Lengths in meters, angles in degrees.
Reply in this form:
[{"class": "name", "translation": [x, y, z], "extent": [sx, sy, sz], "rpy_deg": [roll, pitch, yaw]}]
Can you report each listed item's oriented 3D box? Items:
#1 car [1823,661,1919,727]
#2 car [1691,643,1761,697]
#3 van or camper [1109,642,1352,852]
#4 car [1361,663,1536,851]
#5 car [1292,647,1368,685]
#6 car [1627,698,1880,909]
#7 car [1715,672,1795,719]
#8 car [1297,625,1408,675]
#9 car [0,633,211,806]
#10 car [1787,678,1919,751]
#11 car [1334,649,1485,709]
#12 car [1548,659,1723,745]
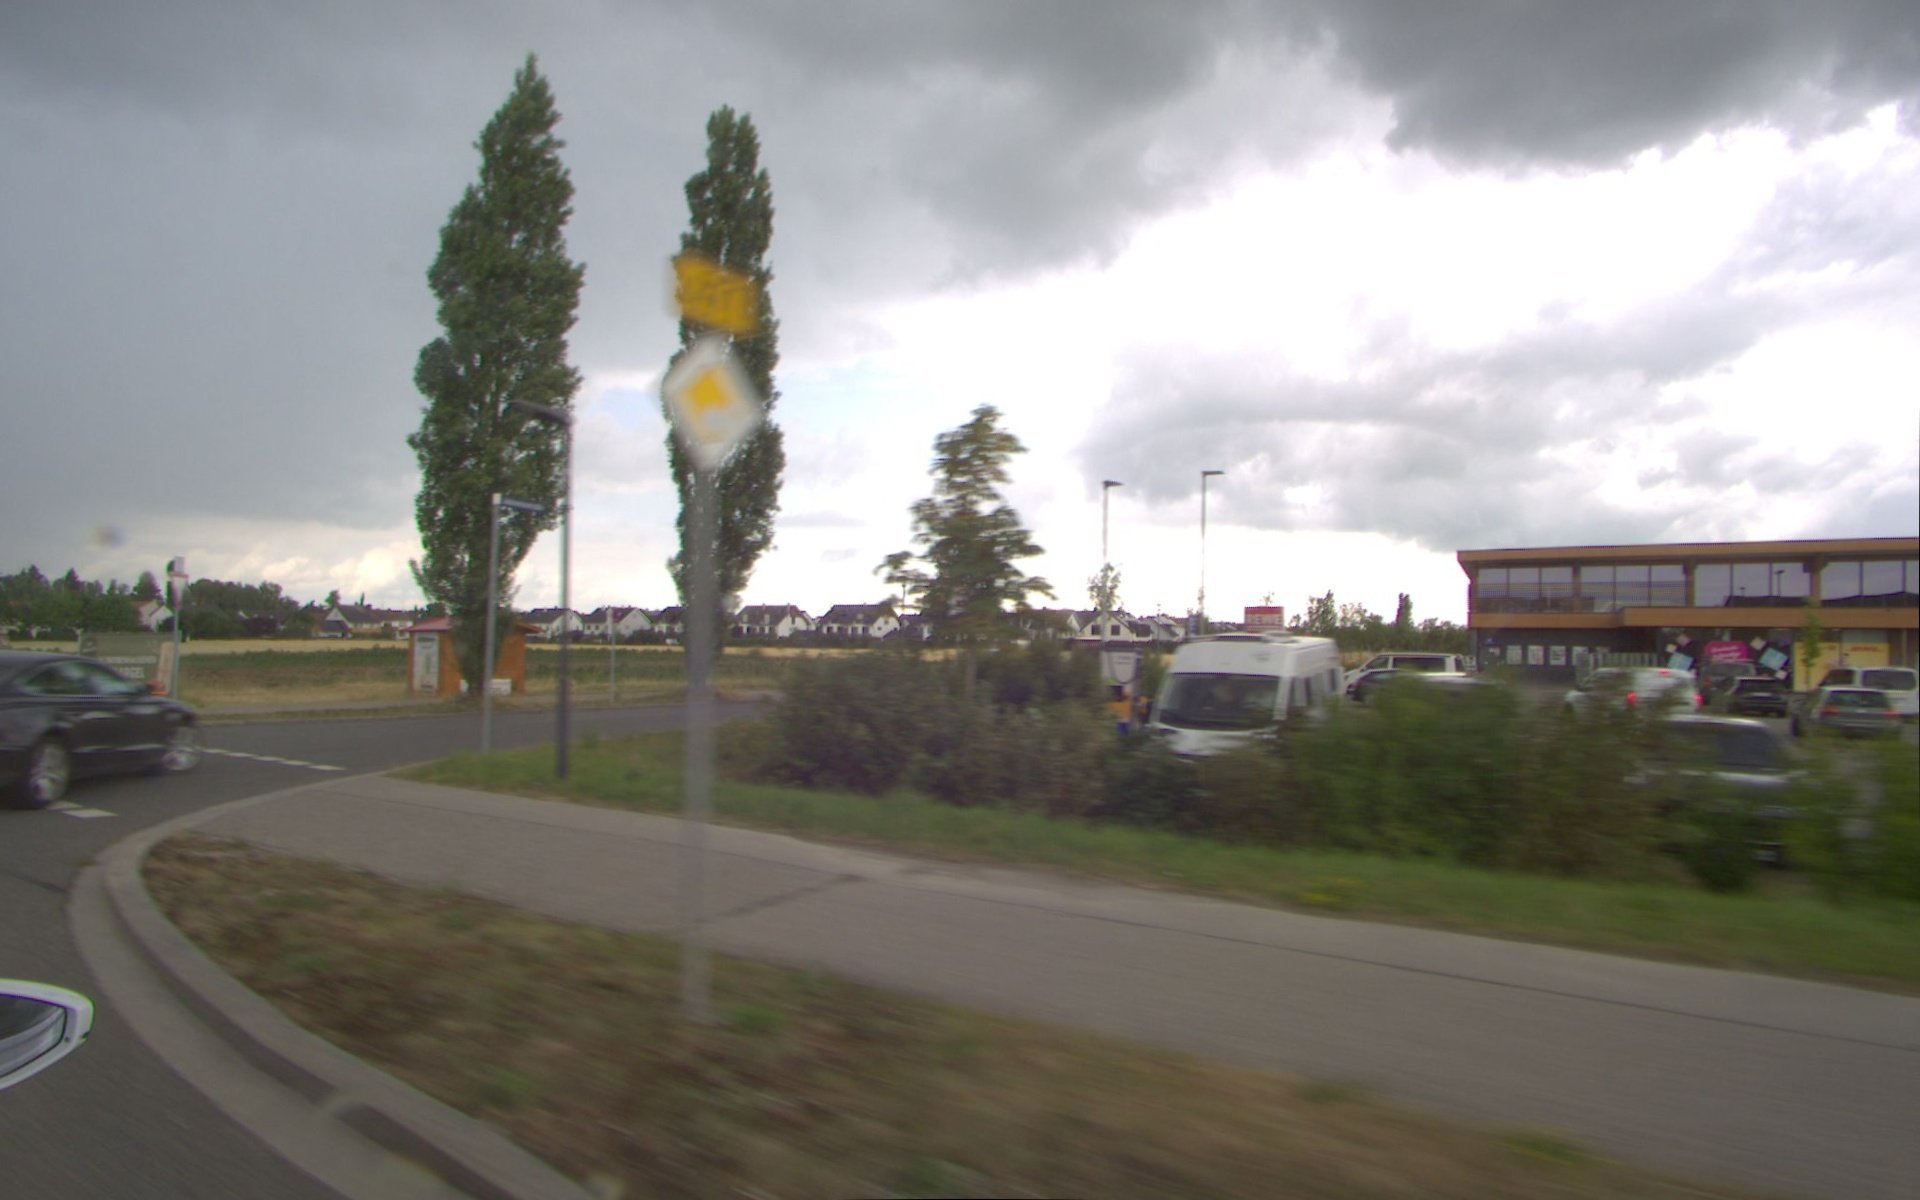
[{"class": "car", "translation": [31.861, 3.211, 34.874], "extent": [2.008, 1.936, 3.887], "rpy_deg": [0, -1, 30]}, {"class": "car", "translation": [32.431, 2.893, 42.474], "extent": [1.824, 2.037, 4.211], "rpy_deg": [0, -1, 30]}, {"class": "van or camper", "translation": [4.634, 2.014, 16.144], "extent": [2.247, 2.496, 6.458], "rpy_deg": [0, -1, 30]}, {"class": "car", "translation": [7.269, 2.063, 14.637], "extent": [1.970, 2.040, 4.587], "rpy_deg": [0, -1, 30]}, {"class": "car", "translation": [21.996, 3.882, 59.607], "extent": [3.943, 2.040, 1.990], "rpy_deg": [0, 0, 33]}, {"class": "car", "translation": [9.535, 2.249, 12.452], "extent": [1.732, 1.619, 5.088], "rpy_deg": [0, -1, 30]}, {"class": "car", "translation": [28.637, 3.399, 36.168], "extent": [1.748, 1.400, 3.456], "rpy_deg": [0, -1, 30]}, {"class": "car", "translation": [17.268, 2.143, 44.084], "extent": [4.227, 2.040, 1.989], "rpy_deg": [0, 0, 34]}, {"class": "car", "translation": [-9.297, 1.098, 9.818], "extent": [1.800, 1.405, 4.382], "rpy_deg": [0, -3, -18]}, {"class": "car", "translation": [23.186, 2.909, 26.072], "extent": [1.874, 1.451, 4.172], "rpy_deg": [0, -1, 30]}, {"class": "car", "translation": [17.888, 3.072, 40.038], "extent": [1.980, 2.040, 5.182], "rpy_deg": [0, -1, -44]}, {"class": "car", "translation": [18.564, 2.733, 27.844], "extent": [2.069, 1.931, 4.941], "rpy_deg": [0, -1, 8]}]
